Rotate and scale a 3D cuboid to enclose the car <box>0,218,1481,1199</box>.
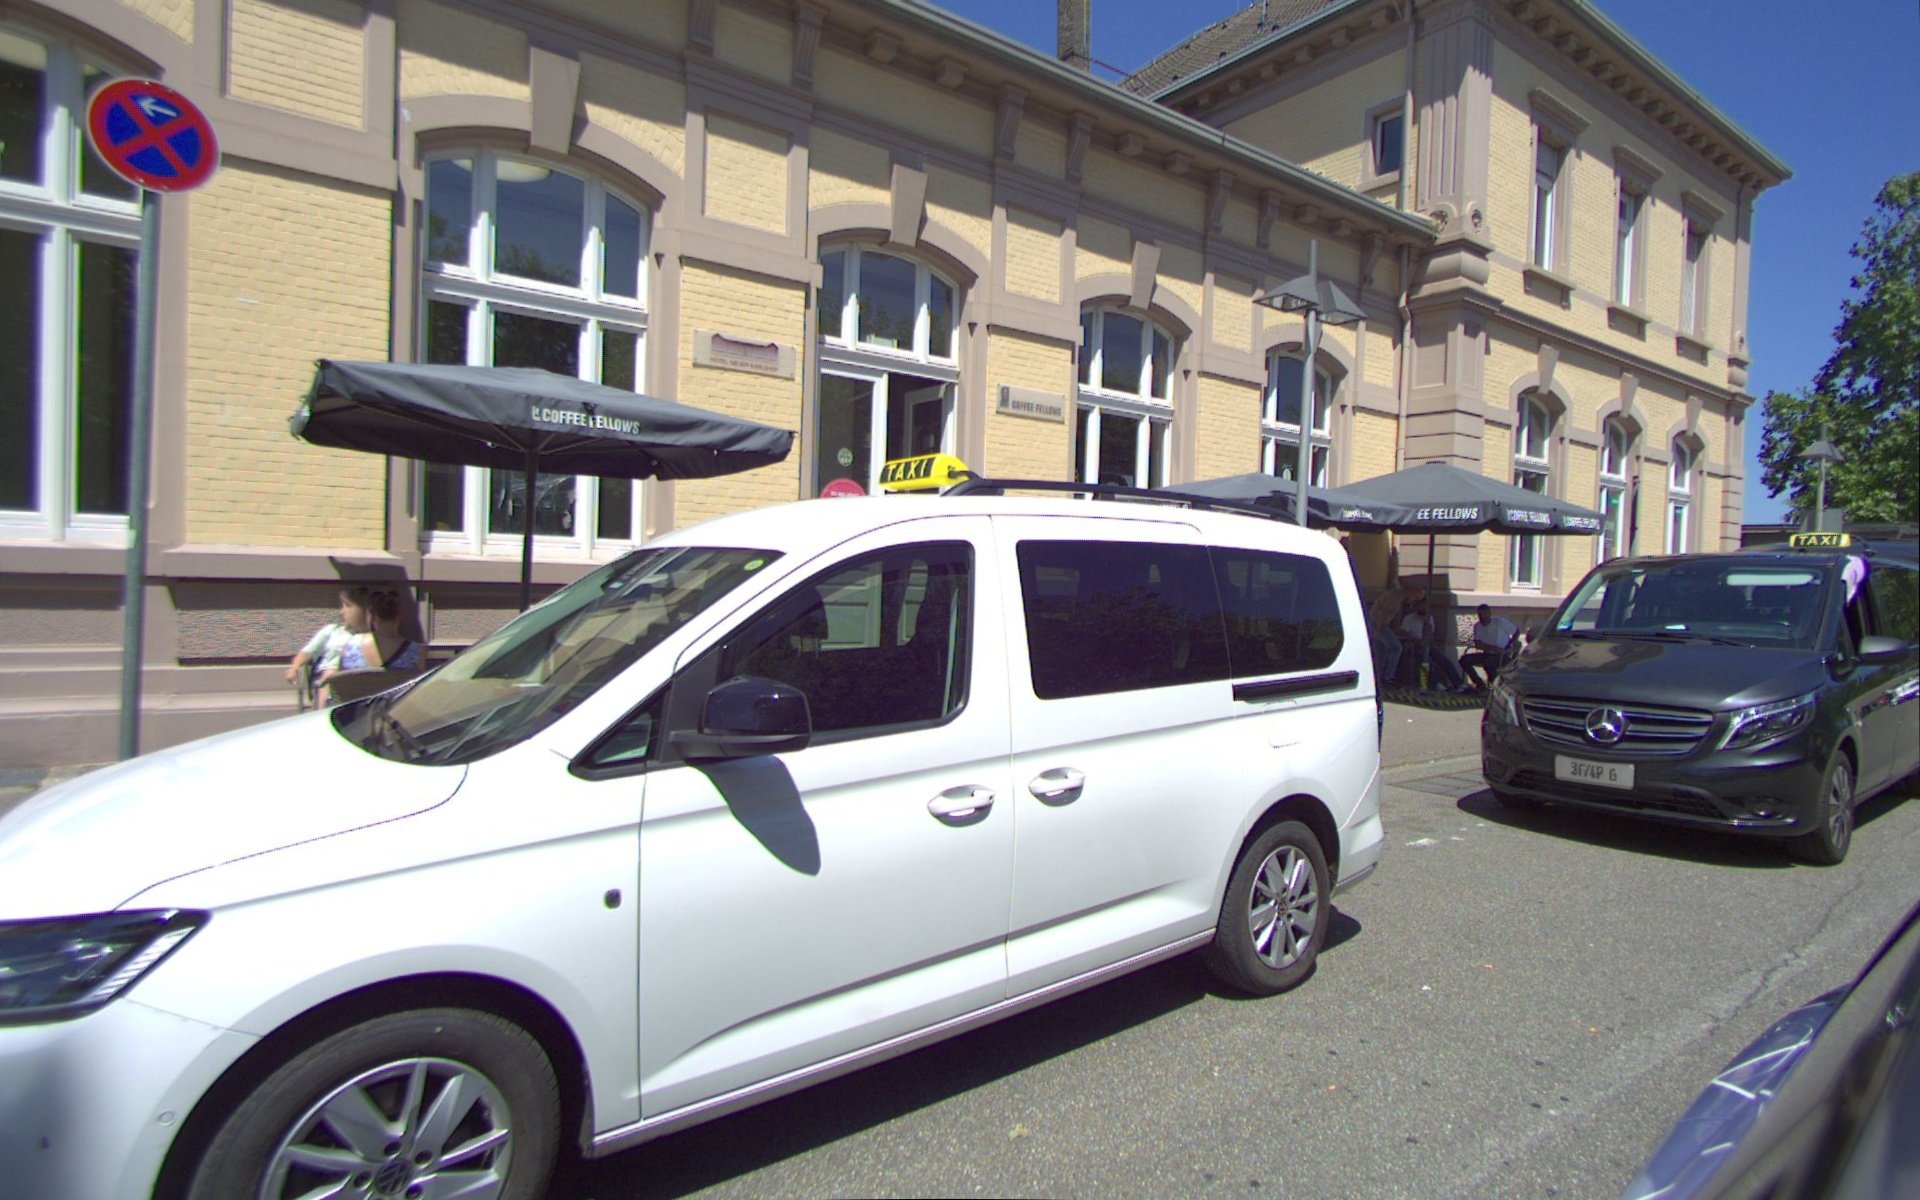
[{"bbox_3d":[-0.296,0.391,3.561,5.044,1.889,1.814,1,1,-38],"label":"car"}]

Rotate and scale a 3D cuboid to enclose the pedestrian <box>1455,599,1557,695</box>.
[{"bbox_3d":[7.360,0.614,13.651,0.865,1.178,0.852,1,3,-36],"label":"pedestrian"}]

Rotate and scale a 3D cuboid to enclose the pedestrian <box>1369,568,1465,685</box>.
[{"bbox_3d":[6.484,0.355,14.382,0.836,1.562,0.881,1,3,-39],"label":"pedestrian"}]

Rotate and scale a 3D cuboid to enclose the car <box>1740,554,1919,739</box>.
[{"bbox_3d":[11.231,0.496,12.105,4.755,1.863,2.078,1,1,-41],"label":"car"}]

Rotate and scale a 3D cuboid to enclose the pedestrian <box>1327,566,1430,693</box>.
[{"bbox_3d":[5.507,0.364,13.336,0.836,1.562,0.881,1,3,-39],"label":"pedestrian"}]

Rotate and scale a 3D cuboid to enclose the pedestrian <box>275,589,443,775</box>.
[{"bbox_3d":[-4.073,0.504,6.844,0.836,1.093,0.881,1,3,-39],"label":"pedestrian"}]

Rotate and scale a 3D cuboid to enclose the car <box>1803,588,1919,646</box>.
[{"bbox_3d":[36.103,0.621,39.204,2.013,2.147,4.963,0,0,-37],"label":"car"}]

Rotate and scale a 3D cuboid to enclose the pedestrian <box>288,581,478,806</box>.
[{"bbox_3d":[-3.489,0.504,6.103,0.836,1.176,0.881,1,3,-39],"label":"pedestrian"}]

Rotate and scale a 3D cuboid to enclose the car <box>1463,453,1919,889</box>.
[{"bbox_3d":[6.141,0.367,7.674,5.723,2.151,2.091,1,1,-41],"label":"car"}]
